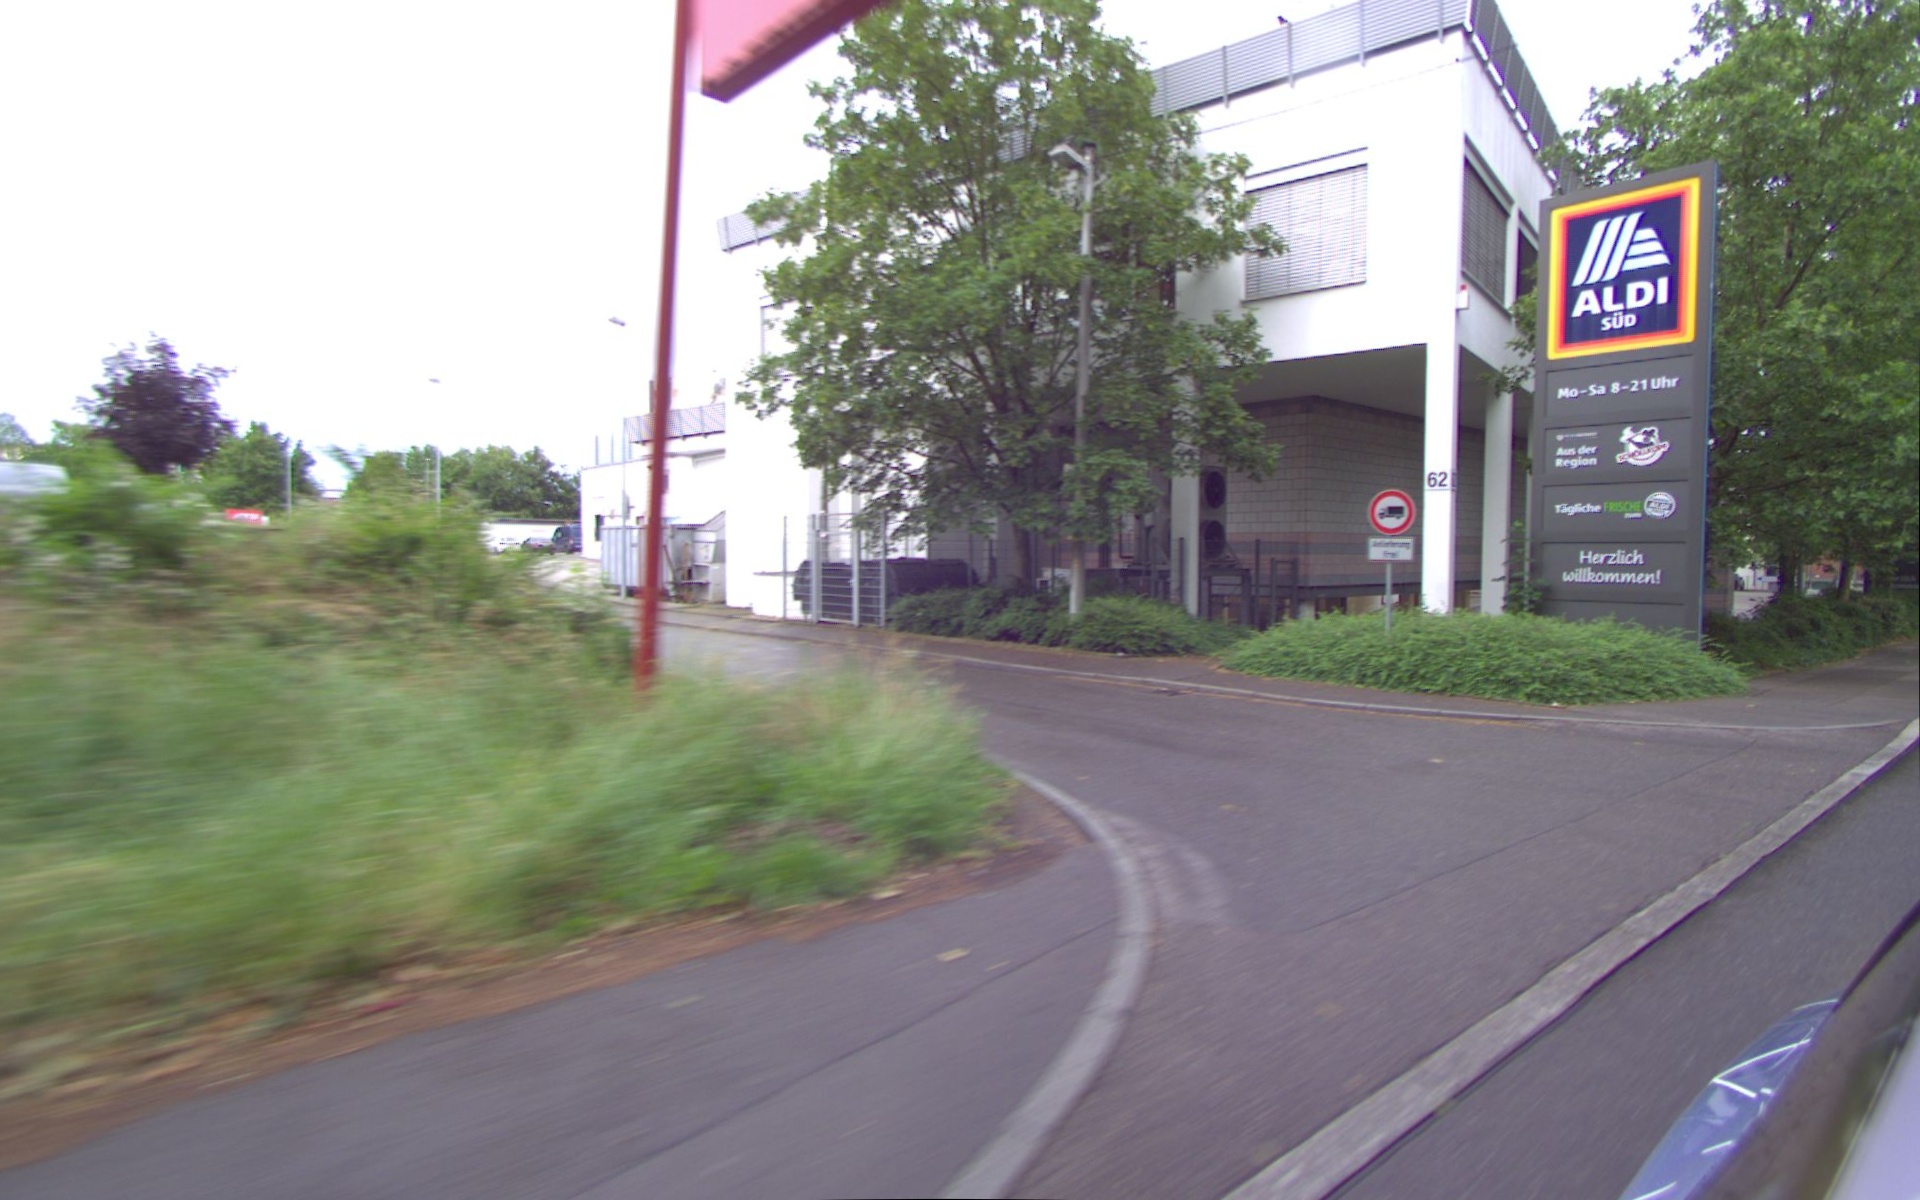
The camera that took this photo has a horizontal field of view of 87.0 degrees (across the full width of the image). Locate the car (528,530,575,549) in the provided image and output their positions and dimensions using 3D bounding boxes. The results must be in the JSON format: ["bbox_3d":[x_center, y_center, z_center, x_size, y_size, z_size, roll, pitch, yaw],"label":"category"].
[{"bbox_3d":[-30.733,-4.548,76.175,3.986,1.301,1.743,2,2,43],"label":"car"}]

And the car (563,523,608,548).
[{"bbox_3d":[-31.163,-5.333,84.145,3.985,2.005,1.890,2,2,42],"label":"car"}]

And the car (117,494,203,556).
[{"bbox_3d":[-27.106,-2.488,34.254,1.884,1.805,3.990,-3,2,-44],"label":"car"}]

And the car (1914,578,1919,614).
[{"bbox_3d":[44.150,-0.092,43.972,3.850,1.566,1.995,4,4,44],"label":"car"}]

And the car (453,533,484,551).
[{"bbox_3d":[-44.297,-5.184,91.209,1.455,1.528,3.615,0,2,-44],"label":"car"}]

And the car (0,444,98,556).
[{"bbox_3d":[-17.835,-1.821,19.284,1.884,1.805,3.990,-3,2,-44],"label":"car"}]
